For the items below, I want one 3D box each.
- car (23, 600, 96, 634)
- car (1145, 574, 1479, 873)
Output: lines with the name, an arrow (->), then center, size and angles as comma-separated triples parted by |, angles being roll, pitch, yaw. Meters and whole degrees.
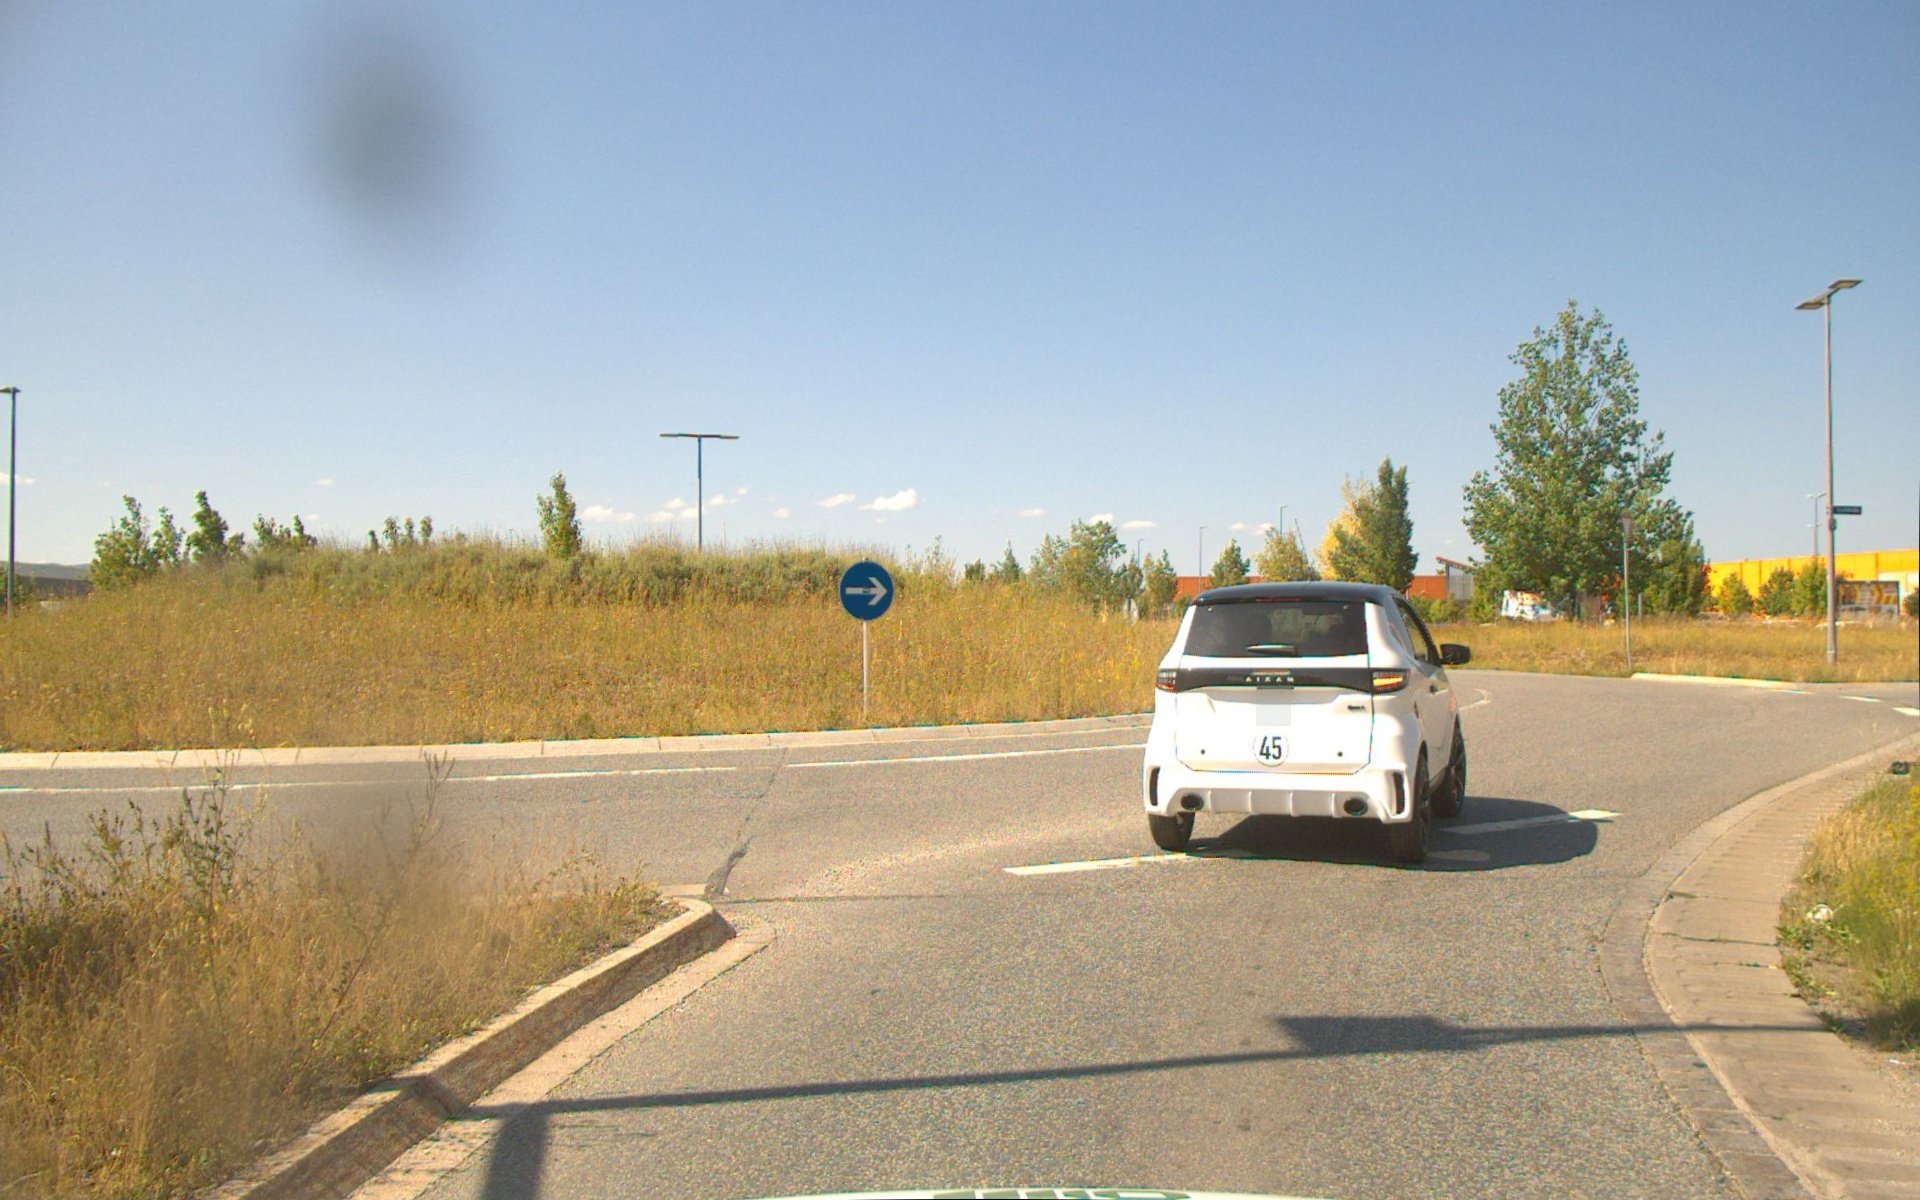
car -> -48.451, 0.929, 89.058 | 1.954, 1.762, 3.995 | 0, -1, -5
car -> 2.277, 0.587, 10.087 | 1.478, 1.465, 3.351 | 0, 1, 21
